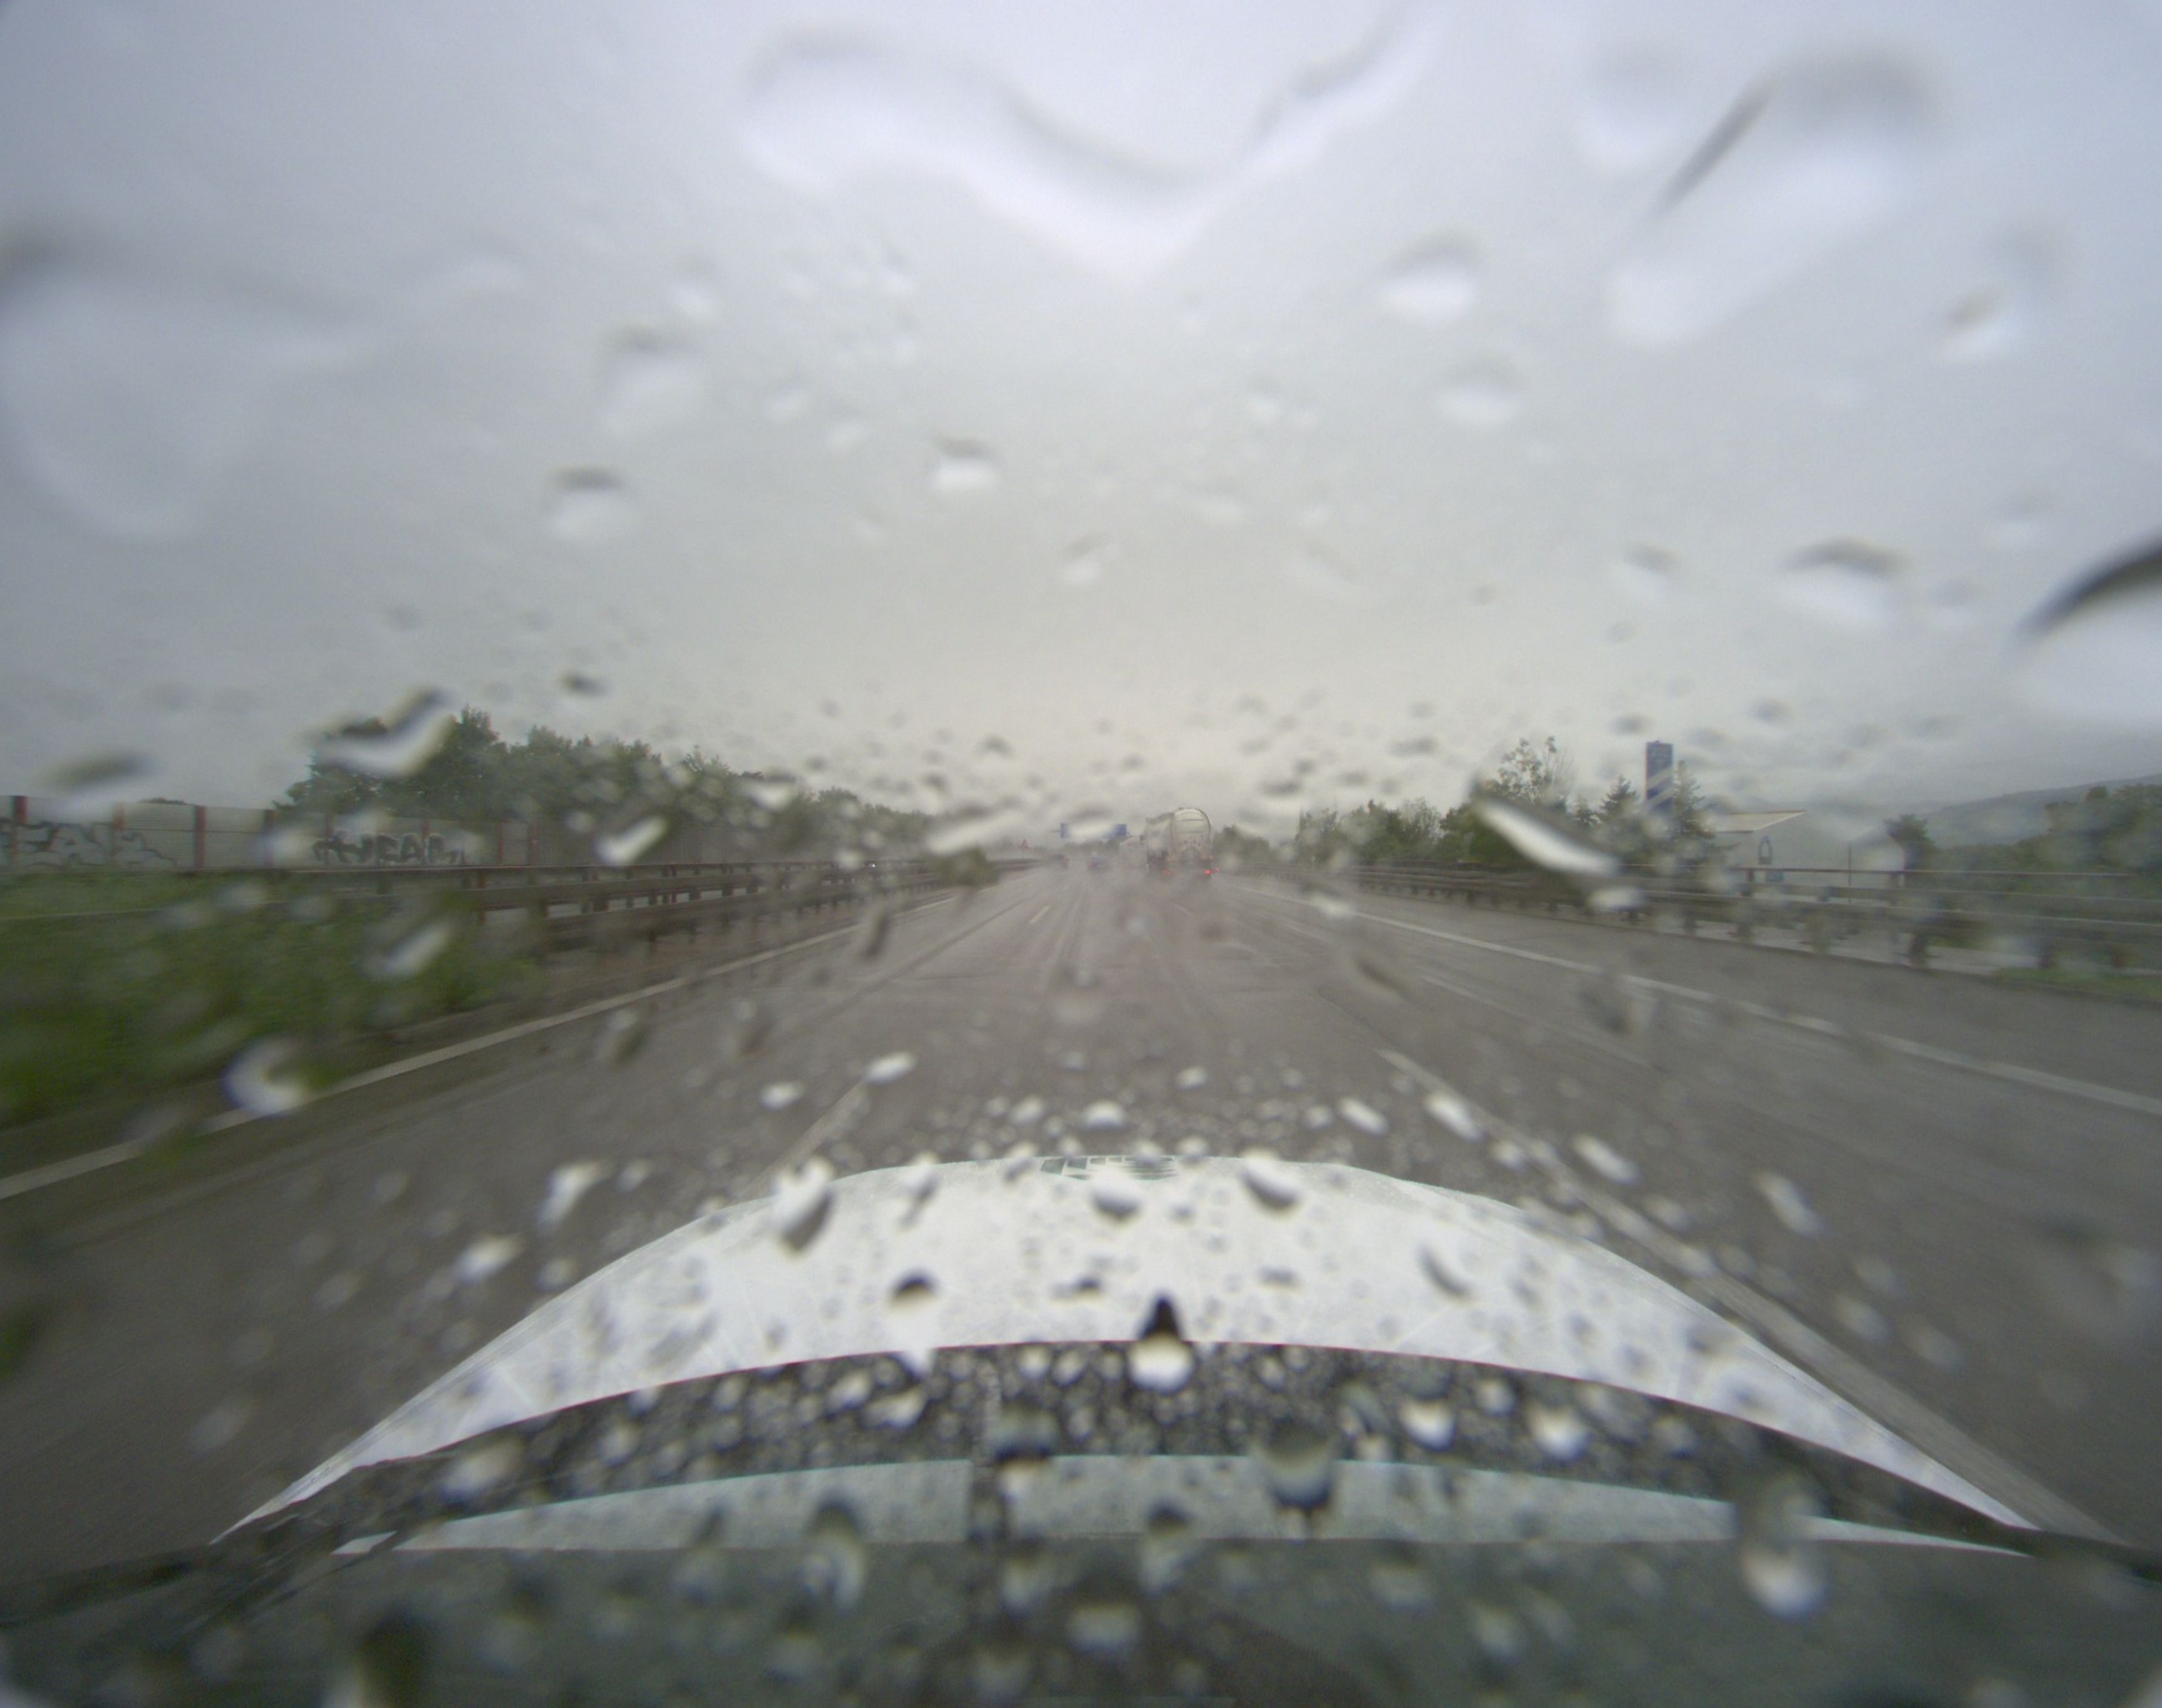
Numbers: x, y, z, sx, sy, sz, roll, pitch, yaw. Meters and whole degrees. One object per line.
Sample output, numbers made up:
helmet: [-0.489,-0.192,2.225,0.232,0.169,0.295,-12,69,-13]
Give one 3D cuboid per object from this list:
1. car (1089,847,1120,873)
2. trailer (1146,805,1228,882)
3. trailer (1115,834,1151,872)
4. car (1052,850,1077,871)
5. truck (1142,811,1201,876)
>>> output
car: [1.716,0.368,57.848,1.970,1.756,4.486,-1,0,4]
trailer: [5.546,-0.524,45.030,3.177,3.670,11.668,-1,0,1]
trailer: [5.381,-0.109,85.881,2.996,3.848,8.618,1,0,-2]
car: [-1.405,0.539,70.982,1.918,1.741,4.405,-1,0,1]
truck: [5.666,-0.626,52.361,3.093,3.806,7.213,-1,0,1]
